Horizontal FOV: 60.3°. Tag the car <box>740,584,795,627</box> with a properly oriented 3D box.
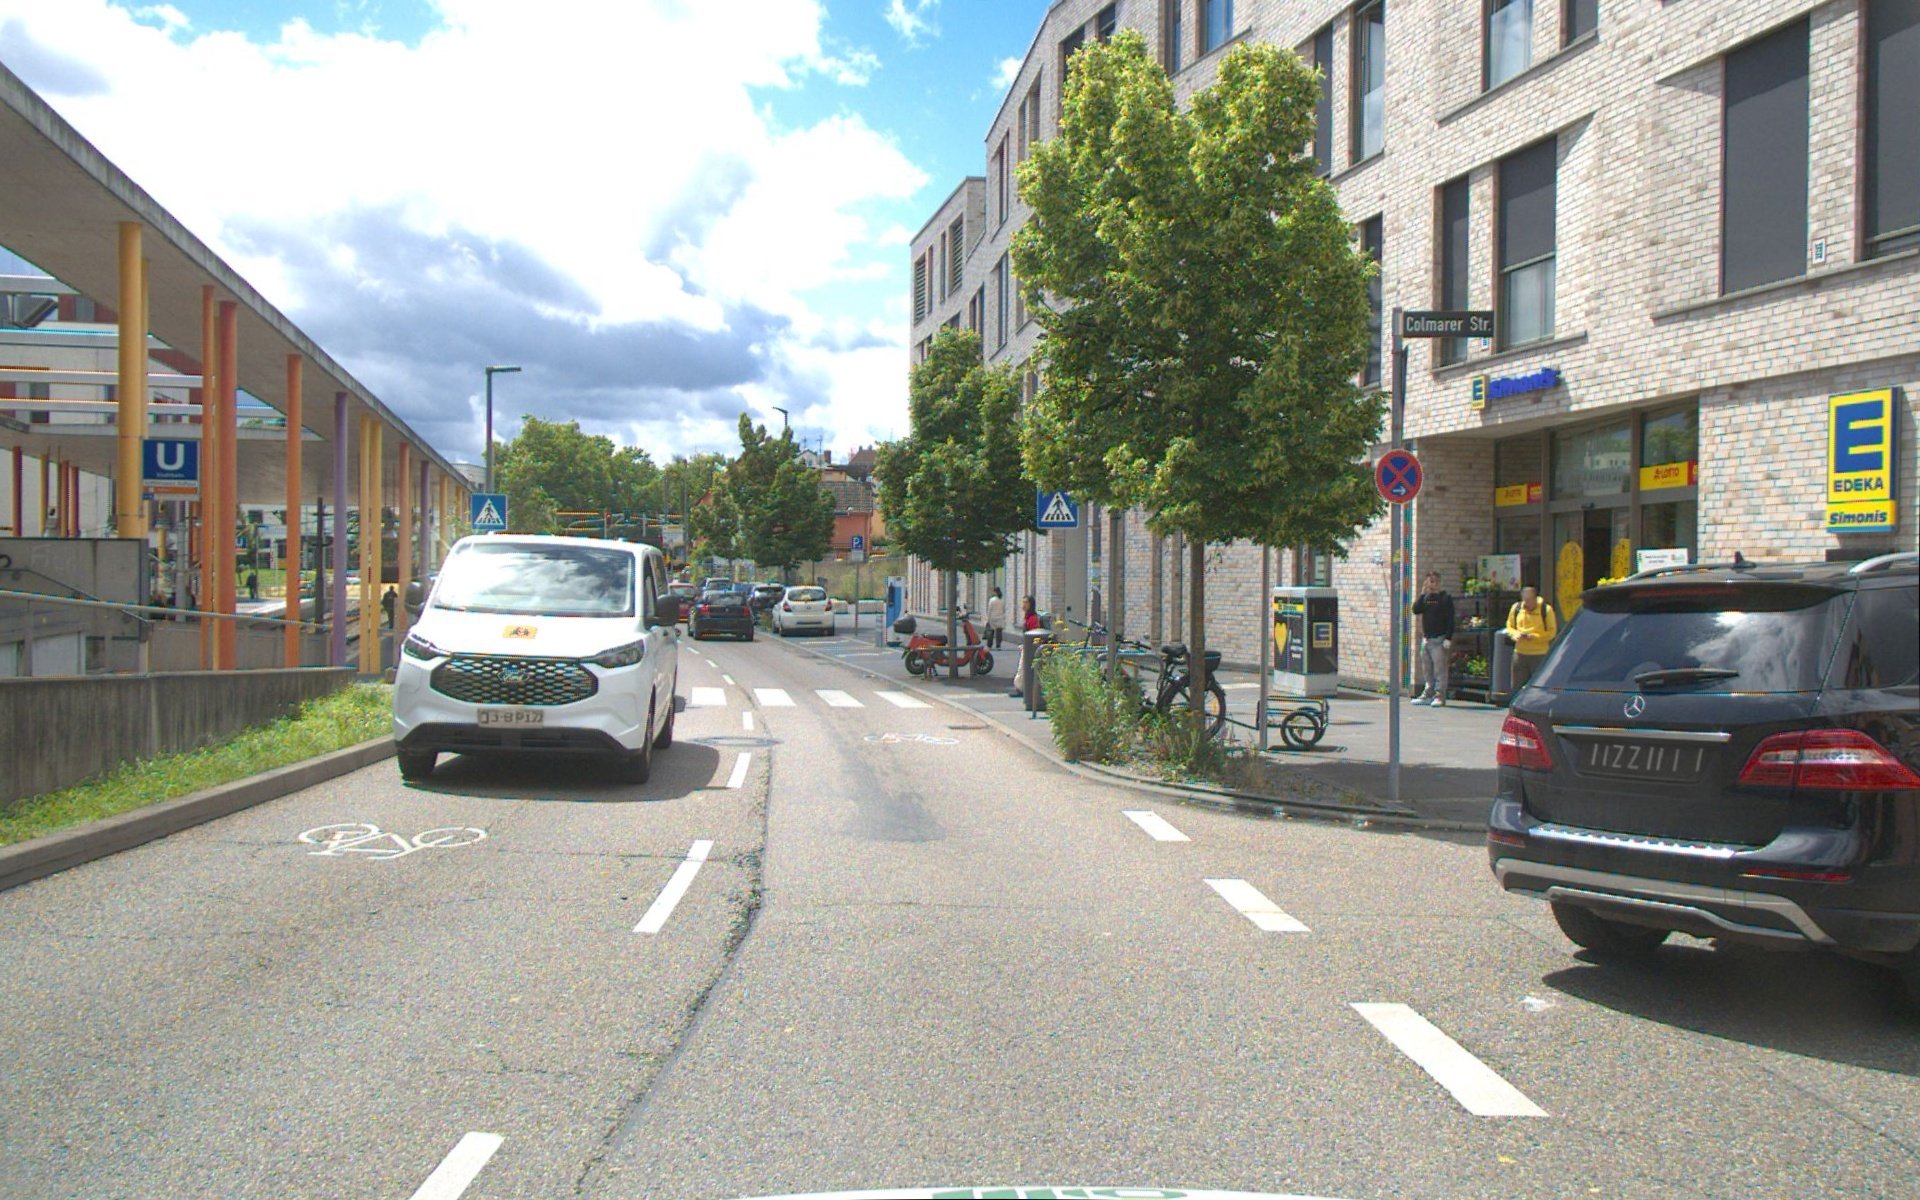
[{"bbox_3d":[-7.123,0.170,60.880,1.663,1.486,4.135,-1,1,-11],"label":"car"}]

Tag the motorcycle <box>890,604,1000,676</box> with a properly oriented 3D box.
[{"bbox_3d":[-0.277,0.755,31.404,2.007,1.288,0.673,-2,0,5],"label":"motorcycle"}]

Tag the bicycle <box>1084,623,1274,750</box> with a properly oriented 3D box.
[{"bbox_3d":[2.224,0.866,16.894,1.787,1.222,0.755,-1,0,-7],"label":"bicycle"}]

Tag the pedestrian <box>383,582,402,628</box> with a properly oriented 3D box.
[{"bbox_3d":[-23.106,0.223,67.365,0.631,1.839,0.591,2,-2,-13],"label":"pedestrian"}]

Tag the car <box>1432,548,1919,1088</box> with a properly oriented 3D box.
[{"bbox_3d":[4.474,0.676,7.437,4.469,1.777,1.980,-1,0,-30],"label":"car"}]

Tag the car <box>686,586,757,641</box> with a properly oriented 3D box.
[{"bbox_3d":[-6.997,0.366,48.324,1.697,1.482,3.795,-1,1,-14],"label":"car"}]

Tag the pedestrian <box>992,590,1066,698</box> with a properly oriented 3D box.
[{"bbox_3d":[1.043,0.667,25.189,0.912,1.593,0.812,2,-2,-15],"label":"pedestrian"}]

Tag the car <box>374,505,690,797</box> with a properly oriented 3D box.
[{"bbox_3d":[-3.531,0.379,14.693,1.956,2.049,5.385,2,0,-7],"label":"car"}]

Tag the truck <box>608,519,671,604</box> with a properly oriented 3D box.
[{"bbox_3d":[-18.852,-2.119,96.876,3.148,4.615,8.997,1,-1,-13],"label":"truck"}]

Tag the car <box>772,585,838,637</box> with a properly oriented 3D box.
[{"bbox_3d":[-4.887,0.298,51.734,1.662,1.509,3.787,-1,1,-11],"label":"car"}]

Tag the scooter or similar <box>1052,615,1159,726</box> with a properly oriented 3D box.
[{"bbox_3d":[1.718,0.828,19.560,1.173,1.271,0.493,-1,0,-7],"label":"scooter or similar"}]

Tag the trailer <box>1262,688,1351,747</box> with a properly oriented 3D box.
[{"bbox_3d":[3.504,1.182,16.786,0.705,0.538,0.811,1,0,-3],"label":"trailer"}]

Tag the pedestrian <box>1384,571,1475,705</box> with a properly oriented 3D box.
[{"bbox_3d":[6.343,0.500,22.362,0.998,1.772,0.657,0,0,-17],"label":"pedestrian"}]

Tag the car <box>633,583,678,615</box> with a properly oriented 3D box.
[{"bbox_3d":[-14.839,-0.059,80.398,1.857,1.491,4.053,-1,0,-15],"label":"car"}]

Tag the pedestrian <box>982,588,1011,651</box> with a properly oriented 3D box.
[{"bbox_3d":[0.897,0.474,40.586,0.595,1.498,0.790,-1,1,-5],"label":"pedestrian"}]

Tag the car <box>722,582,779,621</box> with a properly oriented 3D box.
[{"bbox_3d":[-8.548,0.047,67.277,1.832,1.476,4.628,-1,1,-13],"label":"car"}]

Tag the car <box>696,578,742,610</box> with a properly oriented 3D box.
[{"bbox_3d":[-11.925,-0.331,81.512,1.752,1.477,4.459,-1,1,-15],"label":"car"}]

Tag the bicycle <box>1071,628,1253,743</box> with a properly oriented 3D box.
[{"bbox_3d":[2.143,0.898,17.670,1.787,1.151,0.755,-1,0,-7],"label":"bicycle"}]

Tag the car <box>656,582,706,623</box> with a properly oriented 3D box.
[{"bbox_3d":[-10.573,0.076,62.431,1.682,1.417,3.797,0,1,-12],"label":"car"}]

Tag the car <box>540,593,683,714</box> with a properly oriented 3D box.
[{"bbox_3d":[-4.772,0.672,23.021,1.740,1.489,4.224,2,0,-10],"label":"car"}]

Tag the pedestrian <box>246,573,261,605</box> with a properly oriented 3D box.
[{"bbox_3d":[-41.592,-0.654,97.384,0.631,1.839,0.591,2,-2,-13],"label":"pedestrian"}]

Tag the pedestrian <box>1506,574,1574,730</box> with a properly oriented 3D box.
[{"bbox_3d":[6.558,0.570,18.690,0.645,1.722,0.631,0,0,28],"label":"pedestrian"}]
